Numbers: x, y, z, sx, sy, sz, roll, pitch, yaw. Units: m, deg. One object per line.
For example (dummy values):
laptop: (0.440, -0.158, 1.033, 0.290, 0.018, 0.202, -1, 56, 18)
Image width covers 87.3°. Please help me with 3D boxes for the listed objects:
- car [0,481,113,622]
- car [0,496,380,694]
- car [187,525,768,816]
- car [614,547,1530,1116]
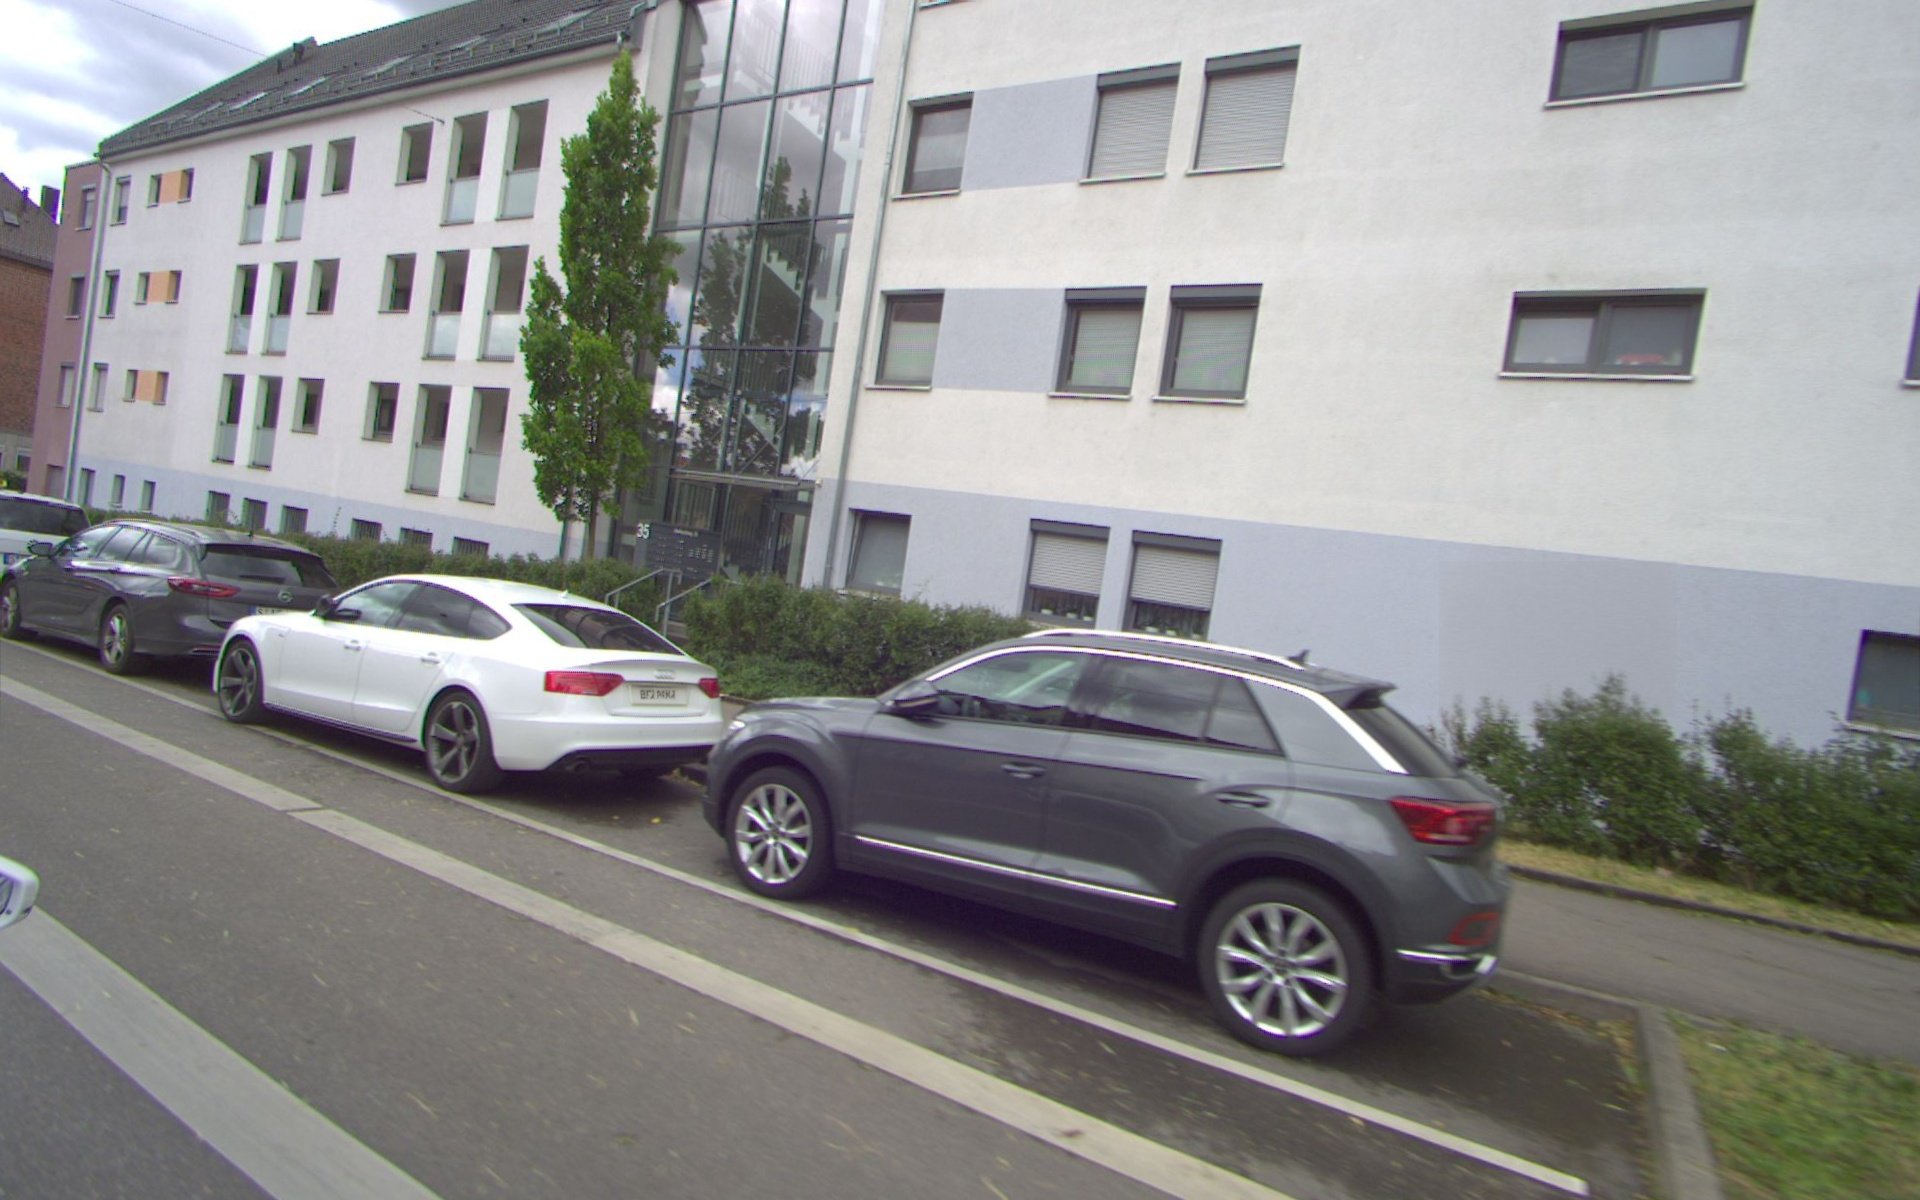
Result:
car: (-14.211, -0.878, 14.396, 4.474, 1.736, 1.662, 7, -1, 30)
car: (-8.613, -0.110, 10.875, 4.865, 1.485, 1.749, 7, -1, 30)
car: (-3.865, 0.426, 7.884, 4.422, 1.430, 1.735, 7, -1, 29)
car: (0.426, 0.851, 5.327, 4.280, 1.669, 1.636, 7, -1, 28)
